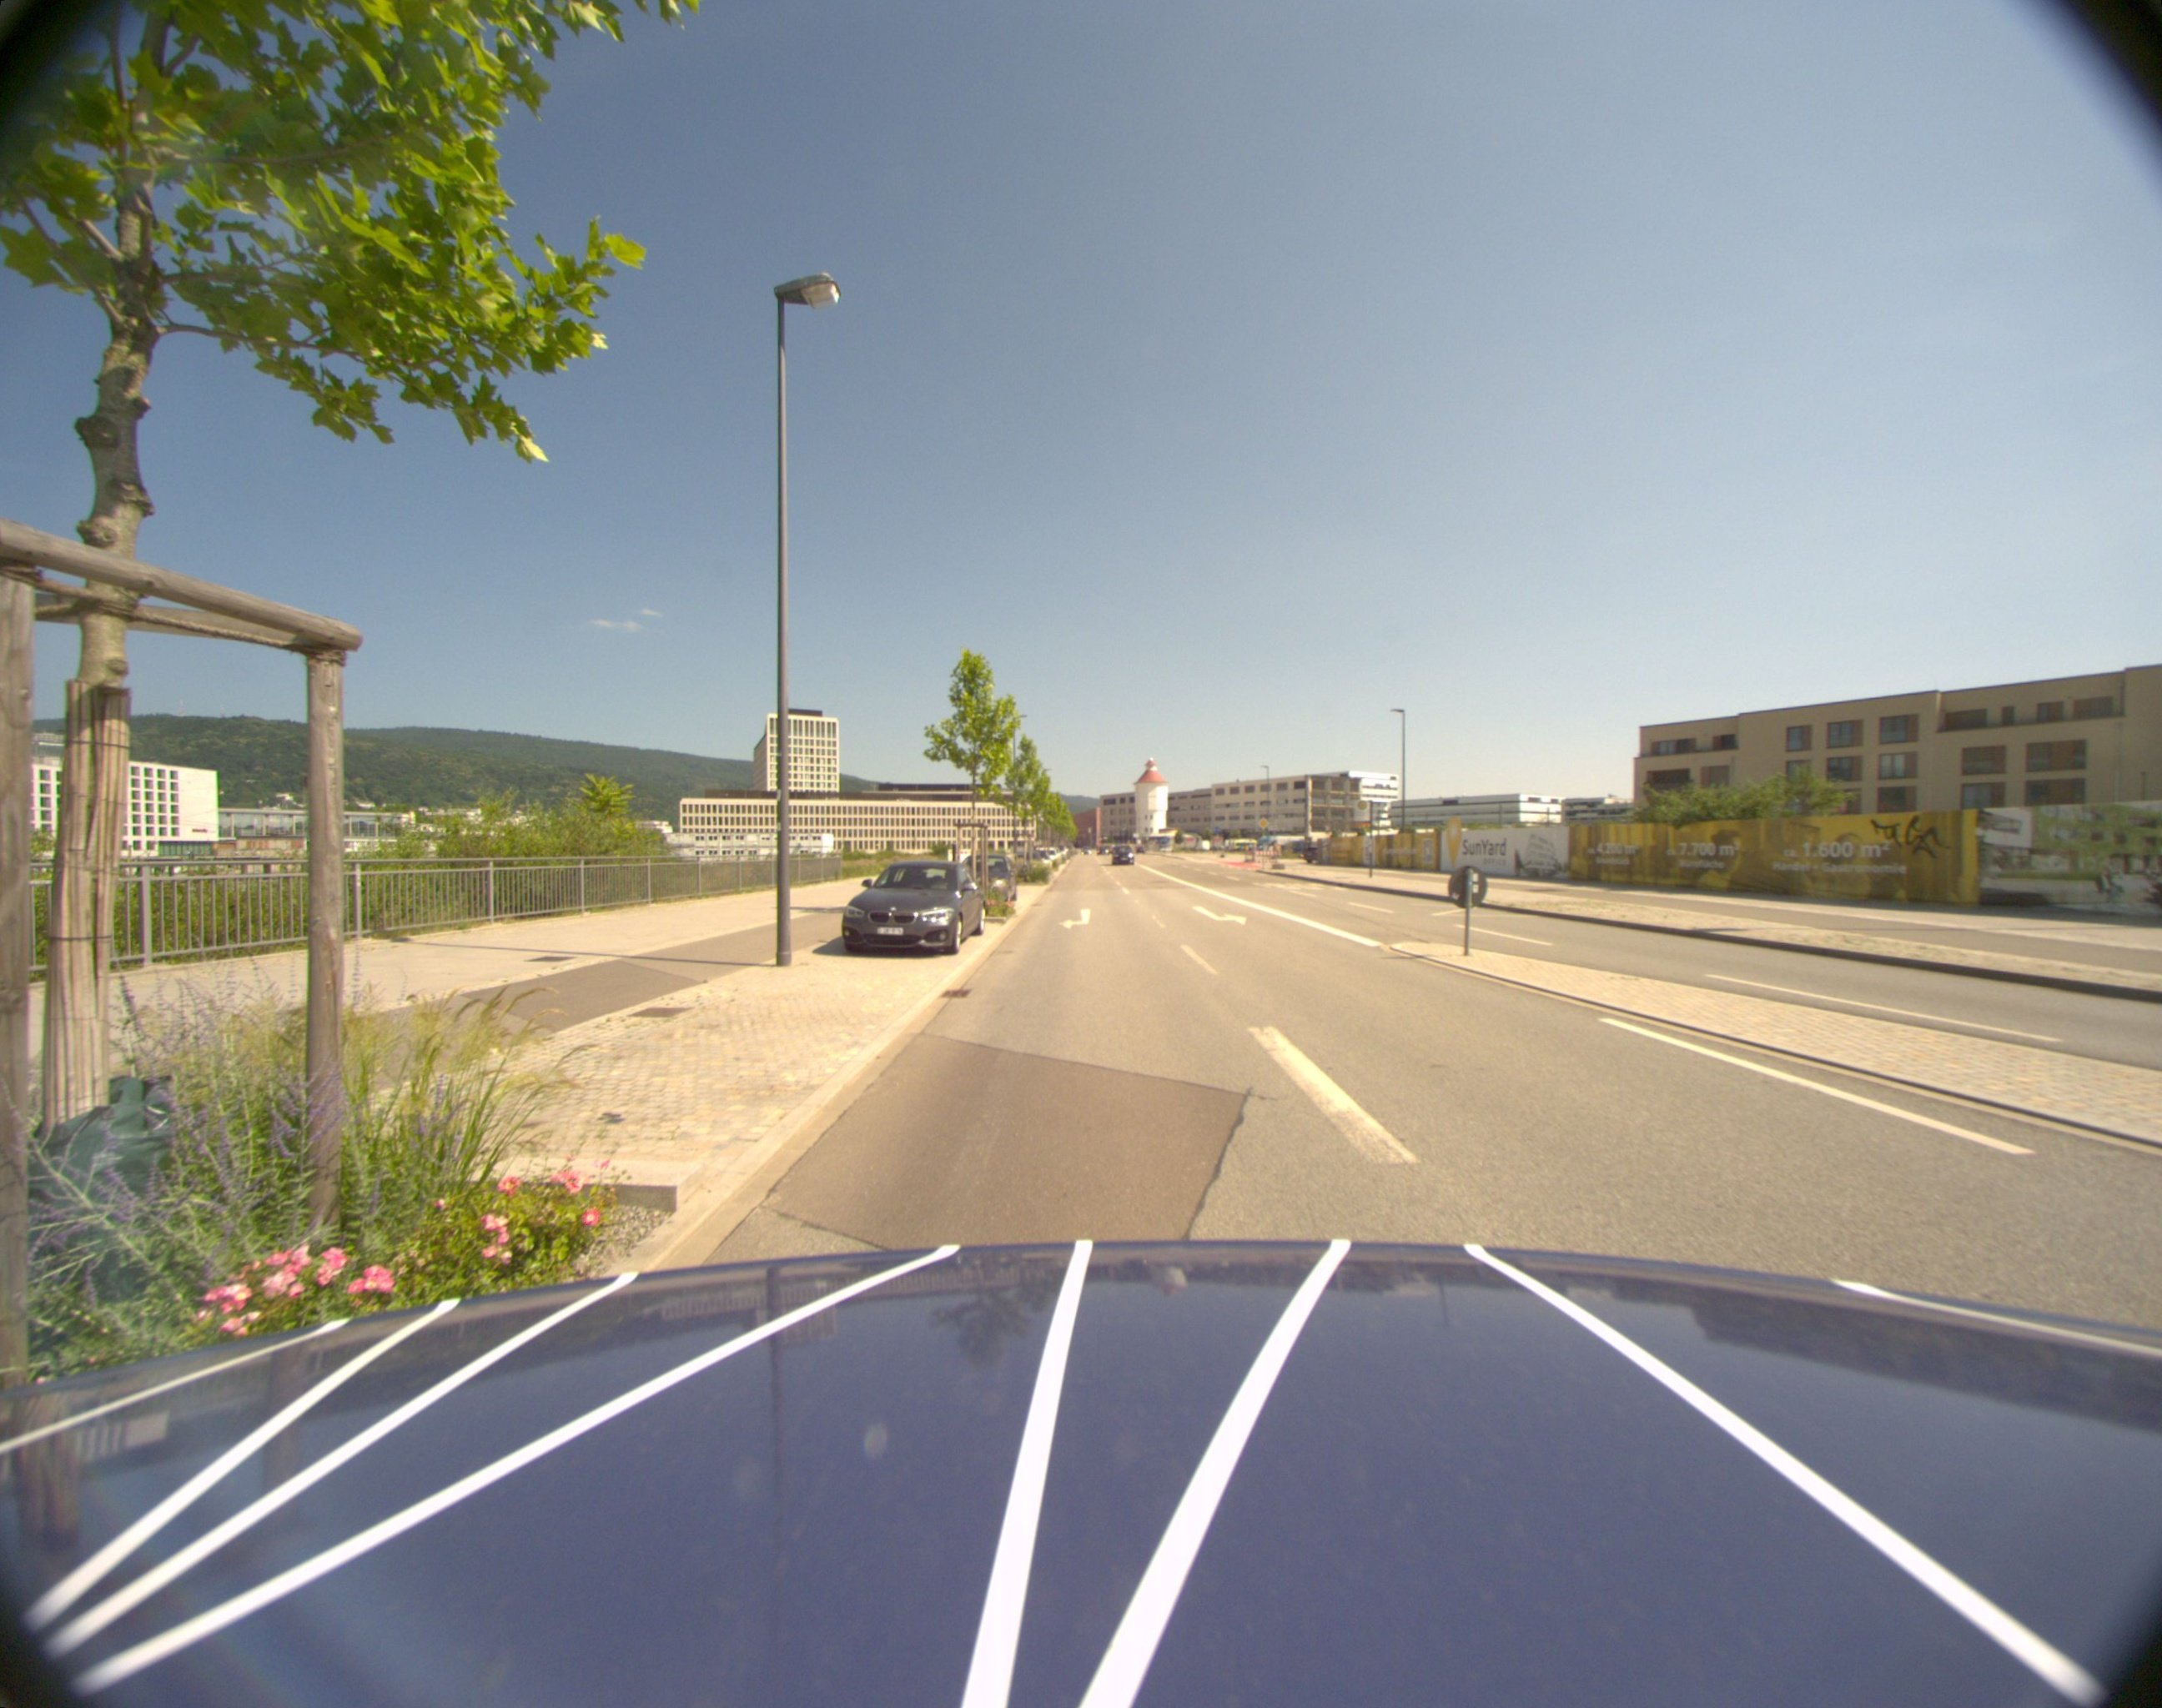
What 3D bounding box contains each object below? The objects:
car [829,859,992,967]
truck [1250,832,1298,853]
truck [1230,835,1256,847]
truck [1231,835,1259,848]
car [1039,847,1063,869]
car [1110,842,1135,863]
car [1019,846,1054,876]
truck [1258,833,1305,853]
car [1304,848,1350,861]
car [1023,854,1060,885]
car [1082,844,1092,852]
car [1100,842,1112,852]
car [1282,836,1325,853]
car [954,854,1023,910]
[{"bbox_3d":[-2.684,0.861,12.892,1.808,1.424,3.916,2,1,1],"label":"car"},{"bbox_3d":[24.872,-1.459,98.085,5.633,2.461,1.999,-2,1,-3],"label":"truck"},{"bbox_3d":[36.199,-2.969,169.947,5.412,2.461,1.999,-2,1,-1],"label":"truck"},{"bbox_3d":[34.981,-2.629,161.917,5.332,2.461,1.999,-2,1,-3],"label":"truck"},{"bbox_3d":[-2.161,0.279,55.521,1.525,1.482,3.505,-3,1,1],"label":"car"},{"bbox_3d":[3.338,-0.145,61.960,1.808,1.613,3.916,-3,1,1],"label":"car"},{"bbox_3d":[-2.617,0.373,45.081,1.768,1.609,3.374,-3,1,1],"label":"car"},{"bbox_3d":[23.867,-1.291,90.554,5.004,2.215,2.000,-2,1,0],"label":"truck"},{"bbox_3d":[20.255,0.033,62.570,3.359,0.947,1.293,-2,1,3],"label":"car"},{"bbox_3d":[-1.794,0.703,35.586,1.490,1.302,3.155,-2,1,1],"label":"car"},{"bbox_3d":[1.095,-1.067,135.837,1.819,1.458,4.346,-2,0,1],"label":"car"},{"bbox_3d":[3.742,-1.064,113.945,1.709,1.404,4.000,-3,1,1],"label":"car"},{"bbox_3d":[23.755,-0.998,81.251,3.930,1.708,1.891,-2,1,-4],"label":"car"},{"bbox_3d":[-2.672,0.778,22.465,1.569,1.465,3.006,2,1,1],"label":"car"}]
